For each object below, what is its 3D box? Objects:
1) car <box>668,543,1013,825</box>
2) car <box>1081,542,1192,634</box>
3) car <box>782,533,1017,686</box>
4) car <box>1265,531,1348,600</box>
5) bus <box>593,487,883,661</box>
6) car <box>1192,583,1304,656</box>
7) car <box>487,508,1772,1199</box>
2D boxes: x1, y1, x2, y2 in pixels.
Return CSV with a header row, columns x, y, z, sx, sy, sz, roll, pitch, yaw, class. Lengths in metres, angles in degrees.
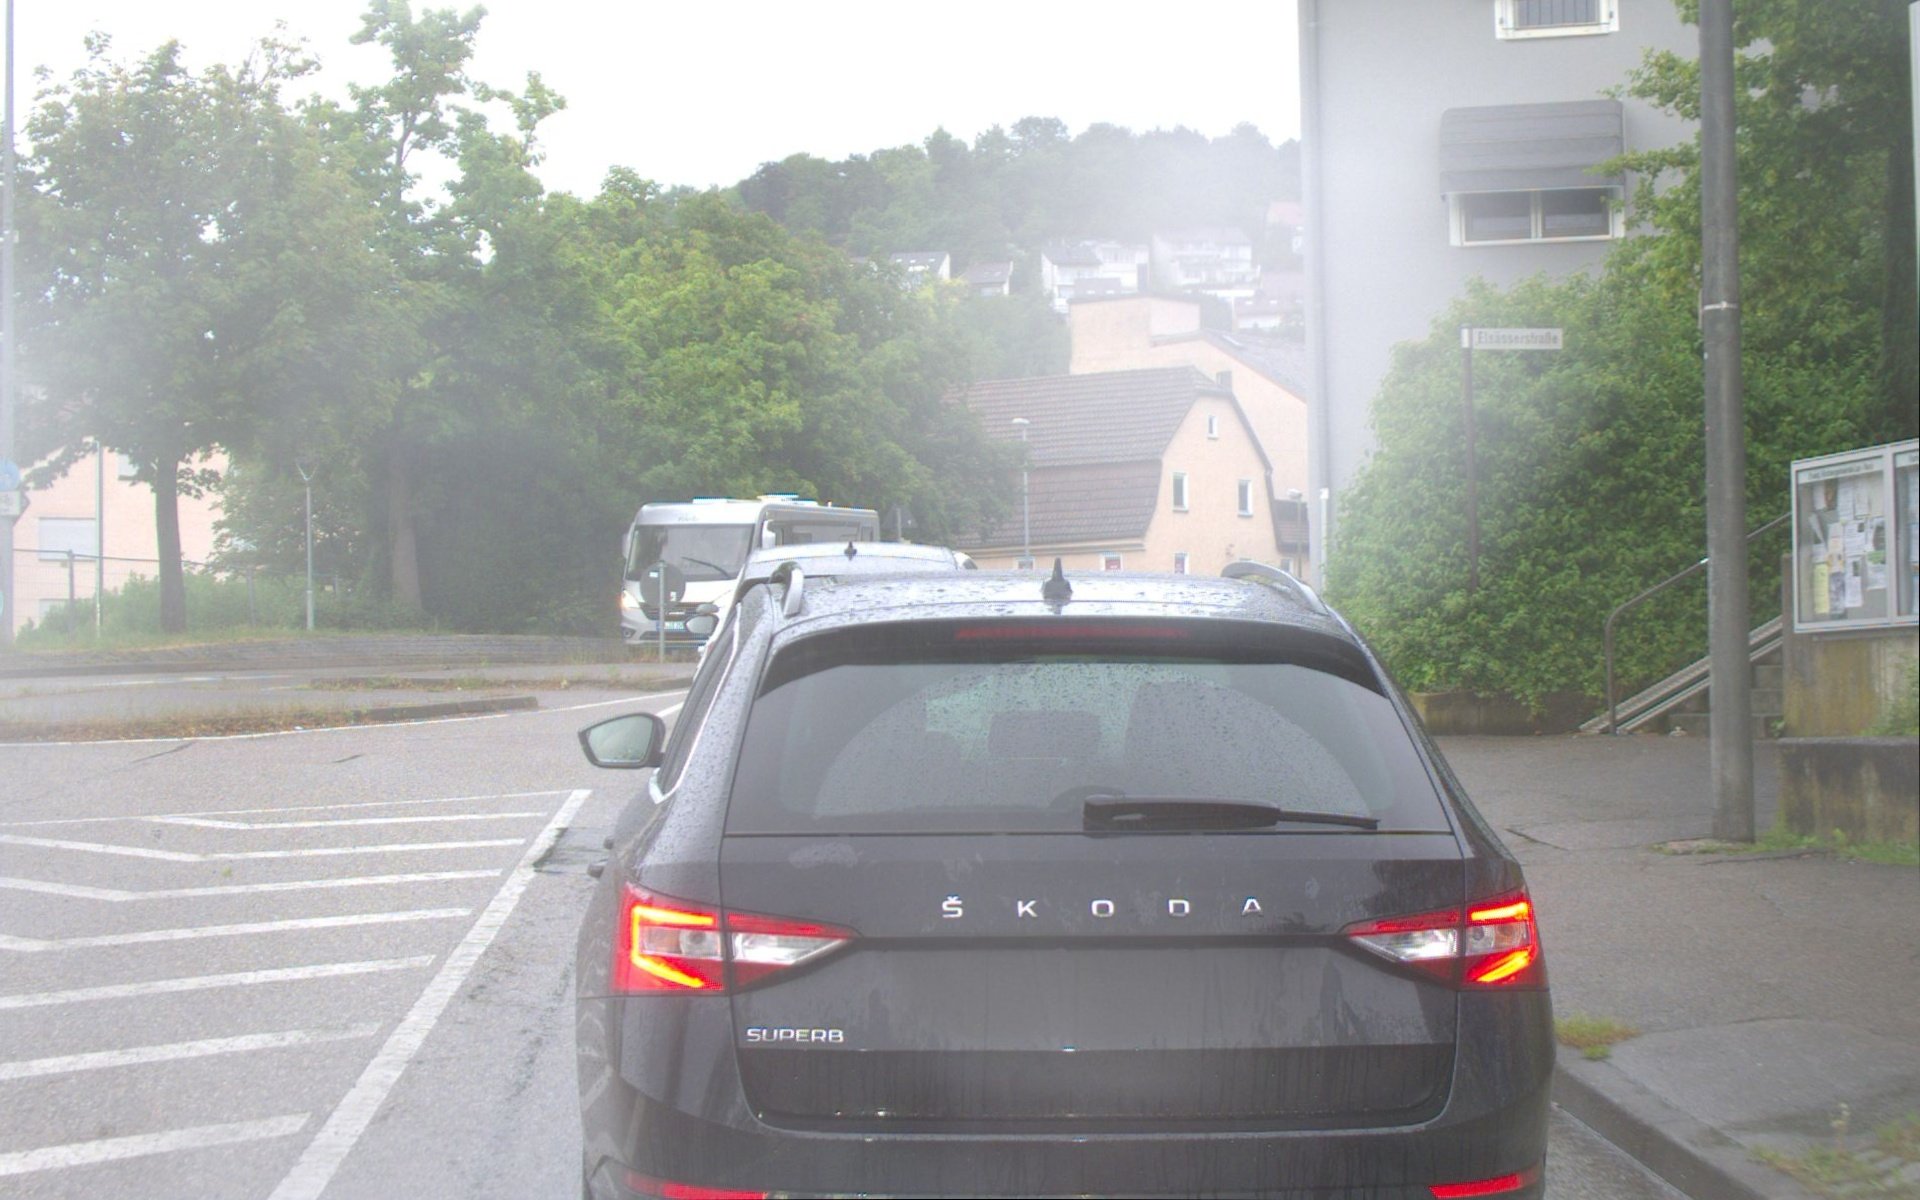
x,y,z,sx,sy,sz,roll,pitch,yaw,class
-0.602,0.451,20.350,1.828,1.495,4.168,0,0,1,car
3.071,-0.233,59.089,1.568,1.525,3.999,0,1,8,car
-0.525,0.089,33.696,1.848,1.405,4.300,0,0,5,car
10.490,-1.021,104.295,1.993,2.007,4.000,1,0,-2,car
-3.520,-0.478,56.479,2.399,2.667,7.042,-1,1,17,bus
6.359,0.413,75.590,1.994,1.448,3.769,-3,0,11,car
0.150,0.639,7.593,1.954,1.502,4.609,2,0,-3,car
